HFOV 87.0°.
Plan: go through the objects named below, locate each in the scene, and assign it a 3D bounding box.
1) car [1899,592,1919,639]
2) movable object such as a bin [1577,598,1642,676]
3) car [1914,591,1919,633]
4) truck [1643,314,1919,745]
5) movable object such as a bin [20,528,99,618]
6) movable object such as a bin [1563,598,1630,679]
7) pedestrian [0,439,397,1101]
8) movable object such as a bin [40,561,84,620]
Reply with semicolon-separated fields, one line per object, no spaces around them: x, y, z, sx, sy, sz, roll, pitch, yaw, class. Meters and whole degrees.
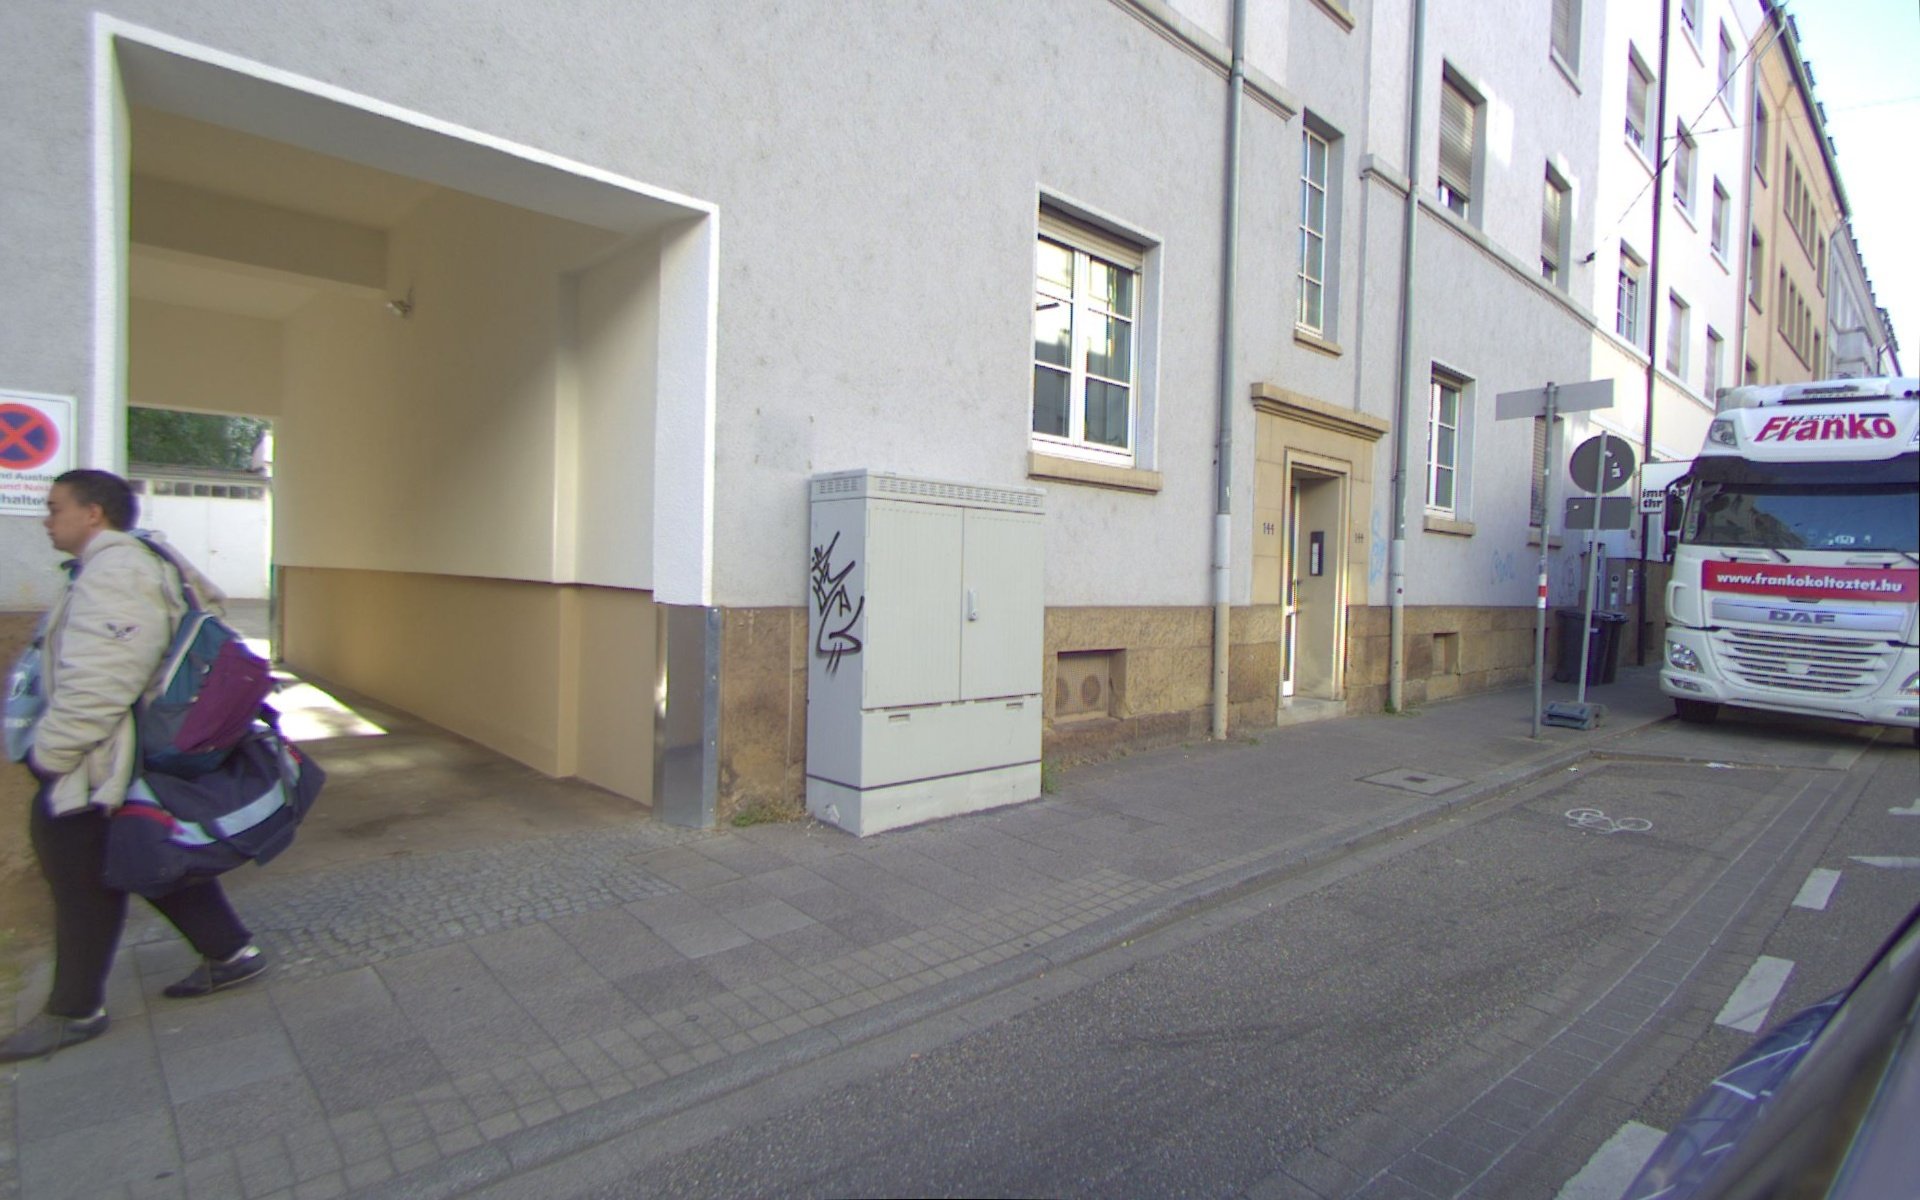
33.504;0.519;34.735;4.080;1.551;1.681;0;0;-44;car
9.650;0.536;15.040;0.560;1.107;0.665;0;2;-43;movable object such as a bin
37.674;0.451;38.632;4.080;1.551;1.681;0;0;-44;car
12.576;-0.686;13.881;11.621;3.975;2.778;0;2;-44;truck
-15.153;-0.459;17.017;0.946;1.426;1.597;0;2;-43;movable object such as a bin
9.171;0.544;14.589;0.560;1.107;0.665;0;2;-43;movable object such as a bin
-2.289;0.387;3.007;0.854;1.590;0.875;1;3;-43;pedestrian
-14.377;-0.152;16.199;0.518;0.922;0.580;0;2;-43;movable object such as a bin
